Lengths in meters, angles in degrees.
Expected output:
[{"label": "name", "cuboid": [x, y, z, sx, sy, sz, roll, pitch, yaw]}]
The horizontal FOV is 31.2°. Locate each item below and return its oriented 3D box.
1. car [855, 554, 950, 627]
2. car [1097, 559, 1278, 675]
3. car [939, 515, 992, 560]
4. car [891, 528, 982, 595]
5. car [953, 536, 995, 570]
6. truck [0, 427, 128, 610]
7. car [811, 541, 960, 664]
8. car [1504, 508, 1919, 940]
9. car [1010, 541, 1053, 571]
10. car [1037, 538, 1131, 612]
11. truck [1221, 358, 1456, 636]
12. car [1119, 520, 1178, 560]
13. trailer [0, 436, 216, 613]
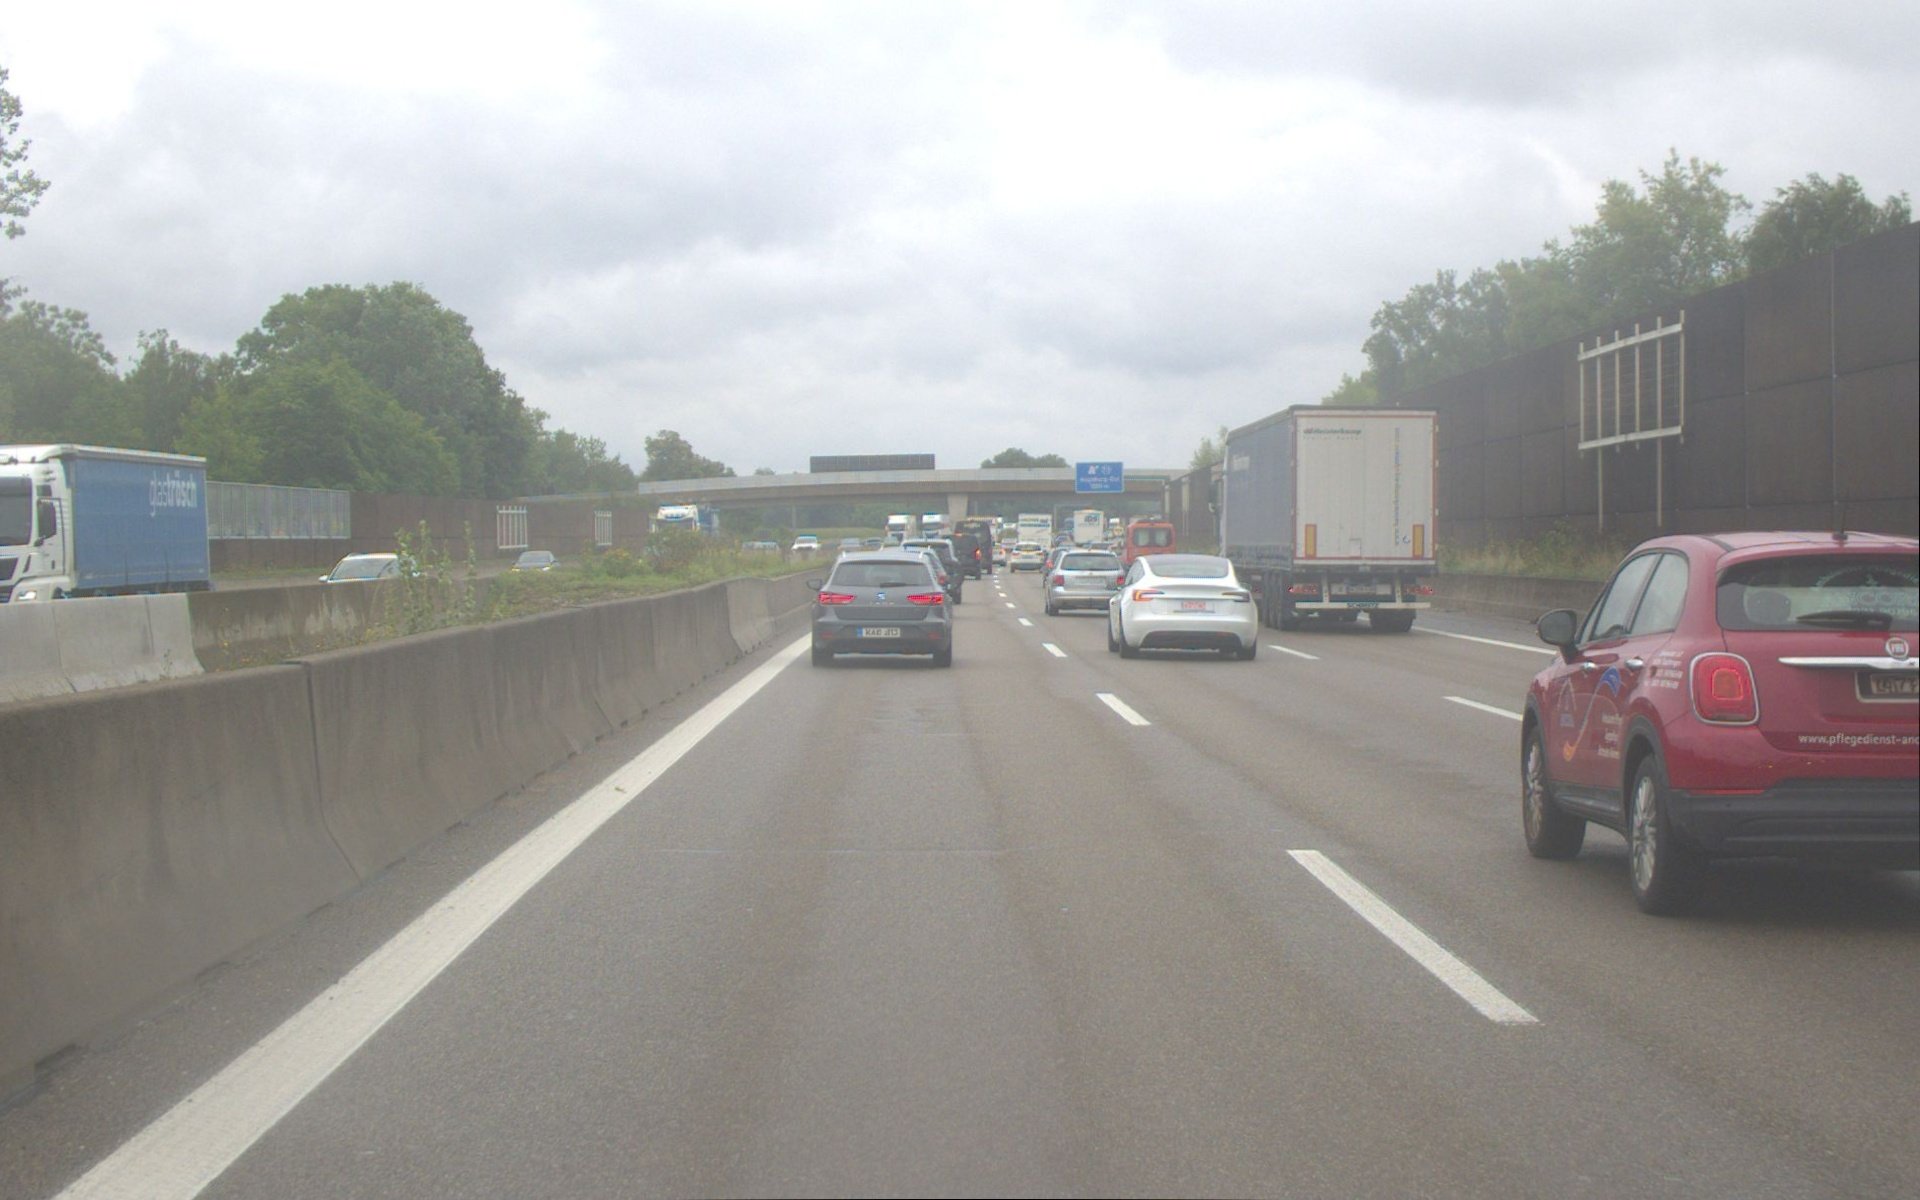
[{"label": "car", "cuboid": [-1.203, -0.212, 69.954, 1.781, 1.401, 3.627, 1, 1, -3]}, {"label": "car", "cuboid": [3.077, 0.201, 47.260, 1.993, 1.481, 4.001, 1, 1, -3]}, {"label": "car", "cuboid": [0.200, -2.568, 141.879, 1.993, 1.809, 4.001, 1, 1, -3]}, {"label": "car", "cuboid": [-0.613, -0.961, 84.395, 1.993, 1.579, 4.001, -1, 1, -4]}, {"label": "car", "cuboid": [0.686, -2.302, 167.949, 1.993, 1.618, 4.000, 1, 1, 0]}, {"label": "truck", "cuboid": [-19.984, -1.728, 73.057, 2.993, 3.679, 6.882, 1, 1, -1]}, {"label": "car", "cuboid": [-0.974, -0.003, 43.180, 1.763, 1.448, 4.001, 1, 1, -2]}, {"label": "car", "cuboid": [3.666, 0.463, 15.152, 1.957, 1.641, 4.000, 1, 0, 1]}, {"label": "car", "cuboid": [3.671, -2.278, 177.427, 1.993, 1.514, 4.000, 1, 1, -1]}, {"label": "car", "cuboid": [2.660, -0.559, 74.561, 1.702, 1.538, 3.839, 1, 1, -3]}, {"label": "truck", "cuboid": [6.807, -1.822, 63.007, 3.044, 4.718, 7.681, 1, 1, -2]}, {"label": "car", "cuboid": [7.459, -2.385, 136.300, 1.993, 1.514, 4.000, 1, 1, -1]}, {"label": "trailer", "cuboid": [-20.136, -1.703, 79.483, 2.993, 3.679, 14.059, 1, 1, -1]}]
